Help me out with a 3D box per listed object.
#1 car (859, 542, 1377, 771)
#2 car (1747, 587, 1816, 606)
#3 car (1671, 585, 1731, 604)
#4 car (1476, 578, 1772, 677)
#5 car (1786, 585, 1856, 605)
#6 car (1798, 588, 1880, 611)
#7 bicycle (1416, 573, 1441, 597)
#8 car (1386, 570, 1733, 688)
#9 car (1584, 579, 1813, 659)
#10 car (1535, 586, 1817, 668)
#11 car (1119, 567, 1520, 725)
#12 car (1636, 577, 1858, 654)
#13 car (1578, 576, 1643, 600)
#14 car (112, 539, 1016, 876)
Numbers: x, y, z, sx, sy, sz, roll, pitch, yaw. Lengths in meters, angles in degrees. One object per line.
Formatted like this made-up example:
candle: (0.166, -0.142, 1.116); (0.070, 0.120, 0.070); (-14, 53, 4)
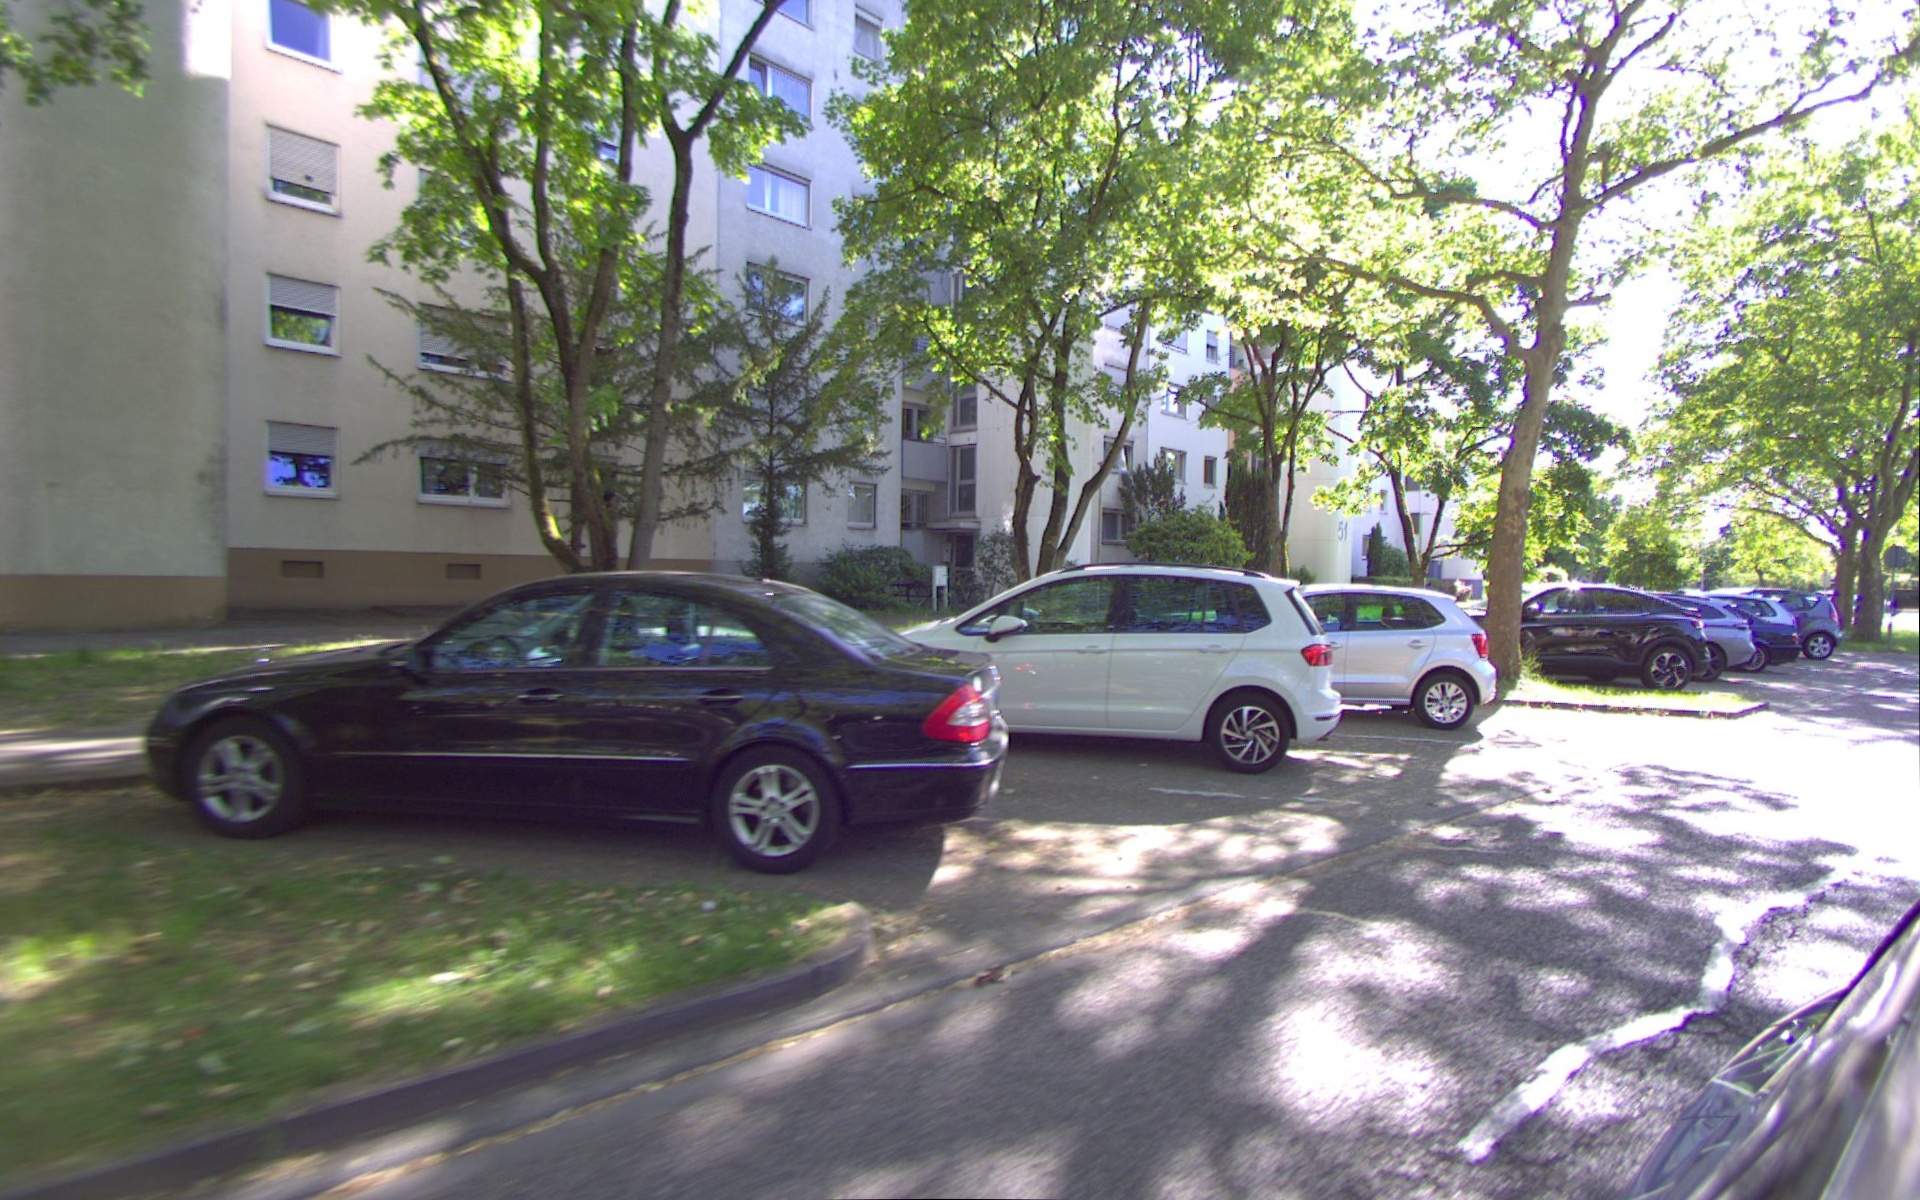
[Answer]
car: (1.280, 0.377, 8.775); (3.935, 1.595, 1.796); (2, 2, 10)
car: (64.952, -0.291, 80.069); (1.762, 1.409, 4.009); (-1, 2, -12)
car: (63.793, -0.535, 87.165); (1.762, 1.524, 4.009); (-1, 2, -12)
car: (11.365, 0.424, 17.584); (3.821, 1.463, 1.798); (2, 2, 6)
car: (69.033, -0.407, 81.215); (1.762, 1.529, 4.009); (-1, 2, -12)
car: (63.505, -0.035, 73.201); (1.762, 1.500, 4.294); (-1, 2, -12)
bicycle: (23.285, -0.735, 50.264); (0.499, 1.120, 1.772); (8, 6, 43)
car: (8.970, 0.383, 15.435); (4.101, 1.529, 1.799); (2, 2, 3)
car: (15.979, 0.377, 22.079); (3.524, 1.510, 1.796); (2, 2, 8)
car: (13.922, 0.489, 19.926); (4.079, 1.334, 1.796); (2, 2, 10)
car: (3.819, 0.428, 11.438); (3.934, 1.462, 1.796); (2, 2, 9)
car: (18.602, 0.325, 24.091); (3.665, 1.612, 1.796); (2, 2, 9)
car: (61.633, -1.149, 95.976); (2.049, 2.112, 5.205); (-1, 2, -12)
car: (-1.975, 0.461, 5.818); (4.509, 1.440, 1.798); (2, 2, 5)
